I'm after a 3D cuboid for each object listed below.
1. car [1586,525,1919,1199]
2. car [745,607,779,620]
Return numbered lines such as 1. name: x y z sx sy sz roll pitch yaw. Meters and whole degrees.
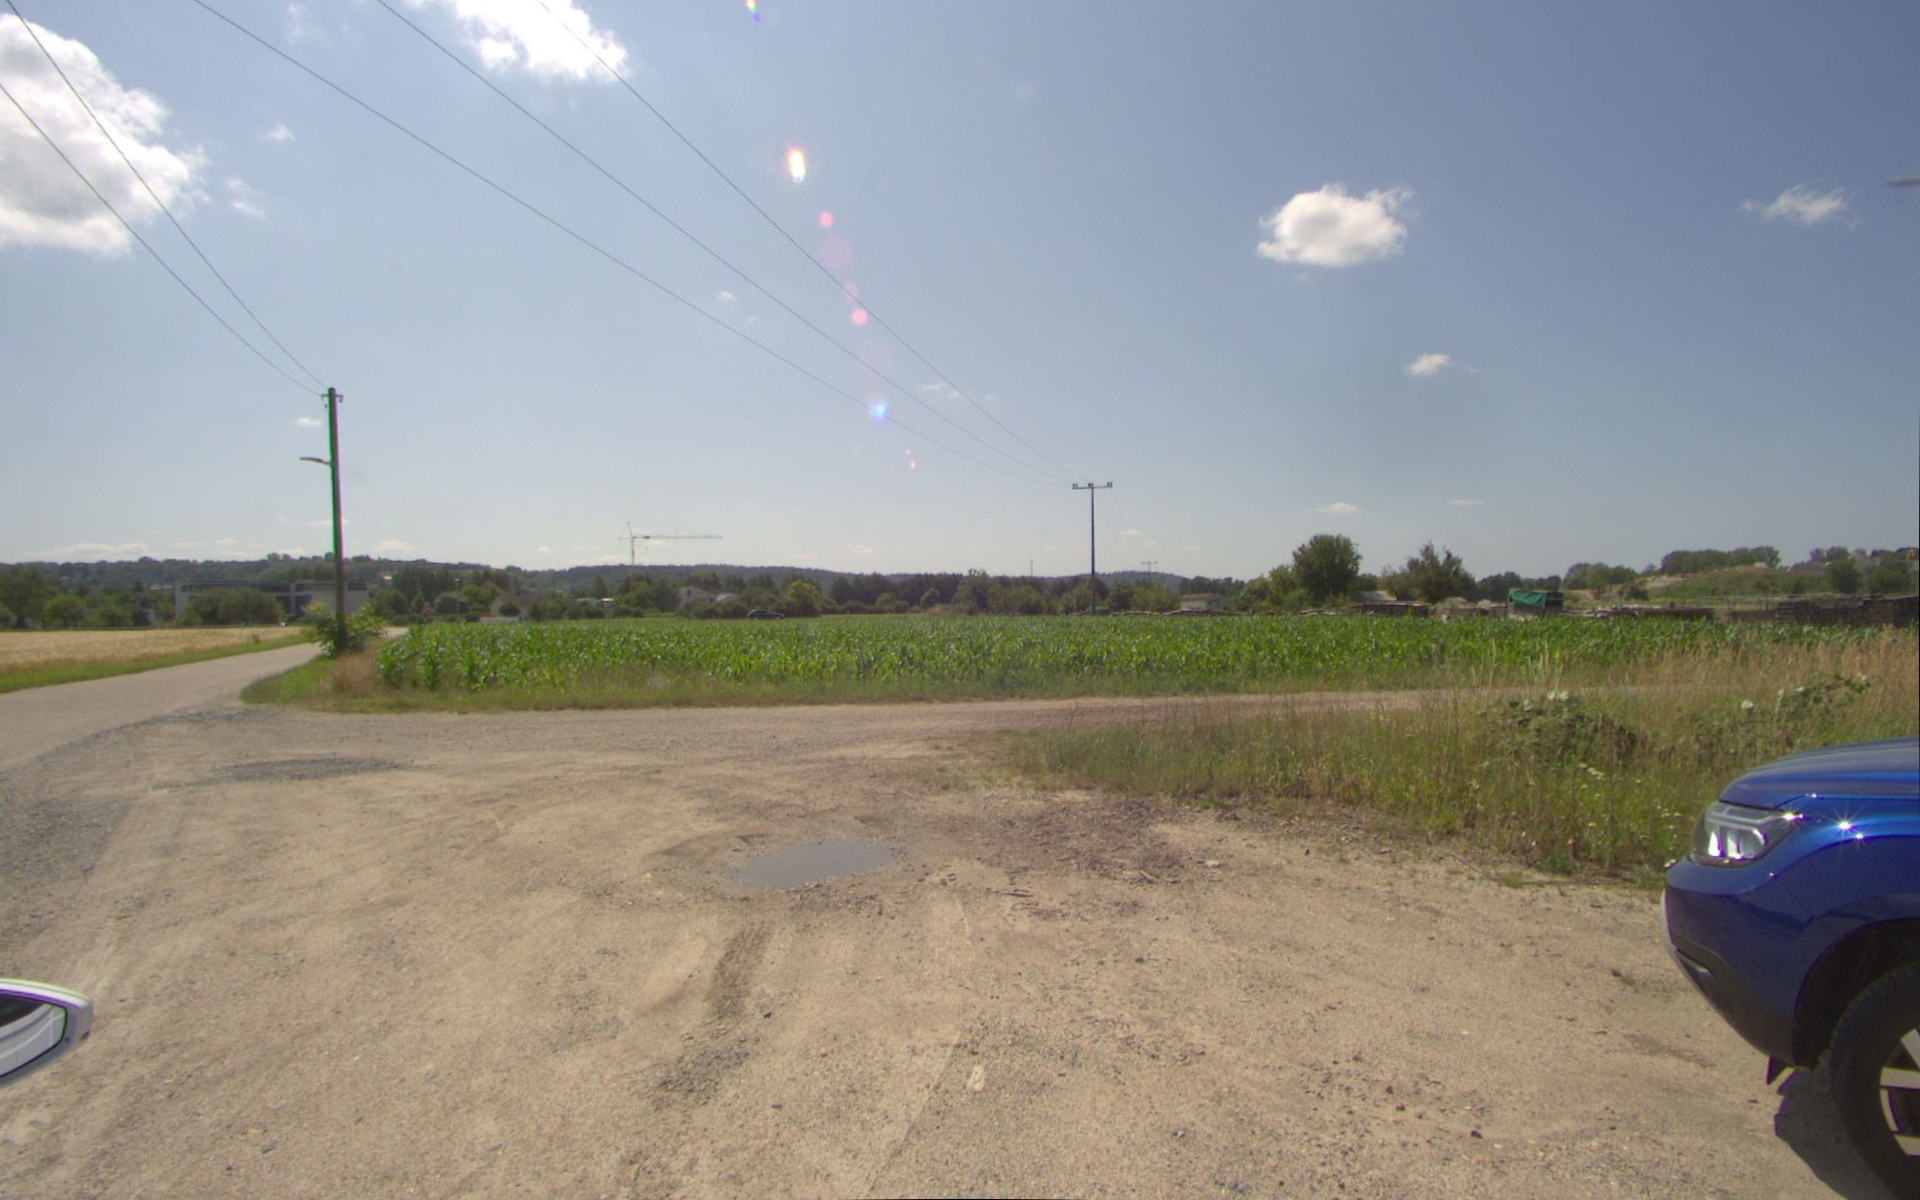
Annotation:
1. car: 3.926 0.634 1.782 1.843 1.682 4.423 1 -2 -39
2. car: -25.667 1.740 129.846 4.214 1.522 1.814 -1 0 -14
